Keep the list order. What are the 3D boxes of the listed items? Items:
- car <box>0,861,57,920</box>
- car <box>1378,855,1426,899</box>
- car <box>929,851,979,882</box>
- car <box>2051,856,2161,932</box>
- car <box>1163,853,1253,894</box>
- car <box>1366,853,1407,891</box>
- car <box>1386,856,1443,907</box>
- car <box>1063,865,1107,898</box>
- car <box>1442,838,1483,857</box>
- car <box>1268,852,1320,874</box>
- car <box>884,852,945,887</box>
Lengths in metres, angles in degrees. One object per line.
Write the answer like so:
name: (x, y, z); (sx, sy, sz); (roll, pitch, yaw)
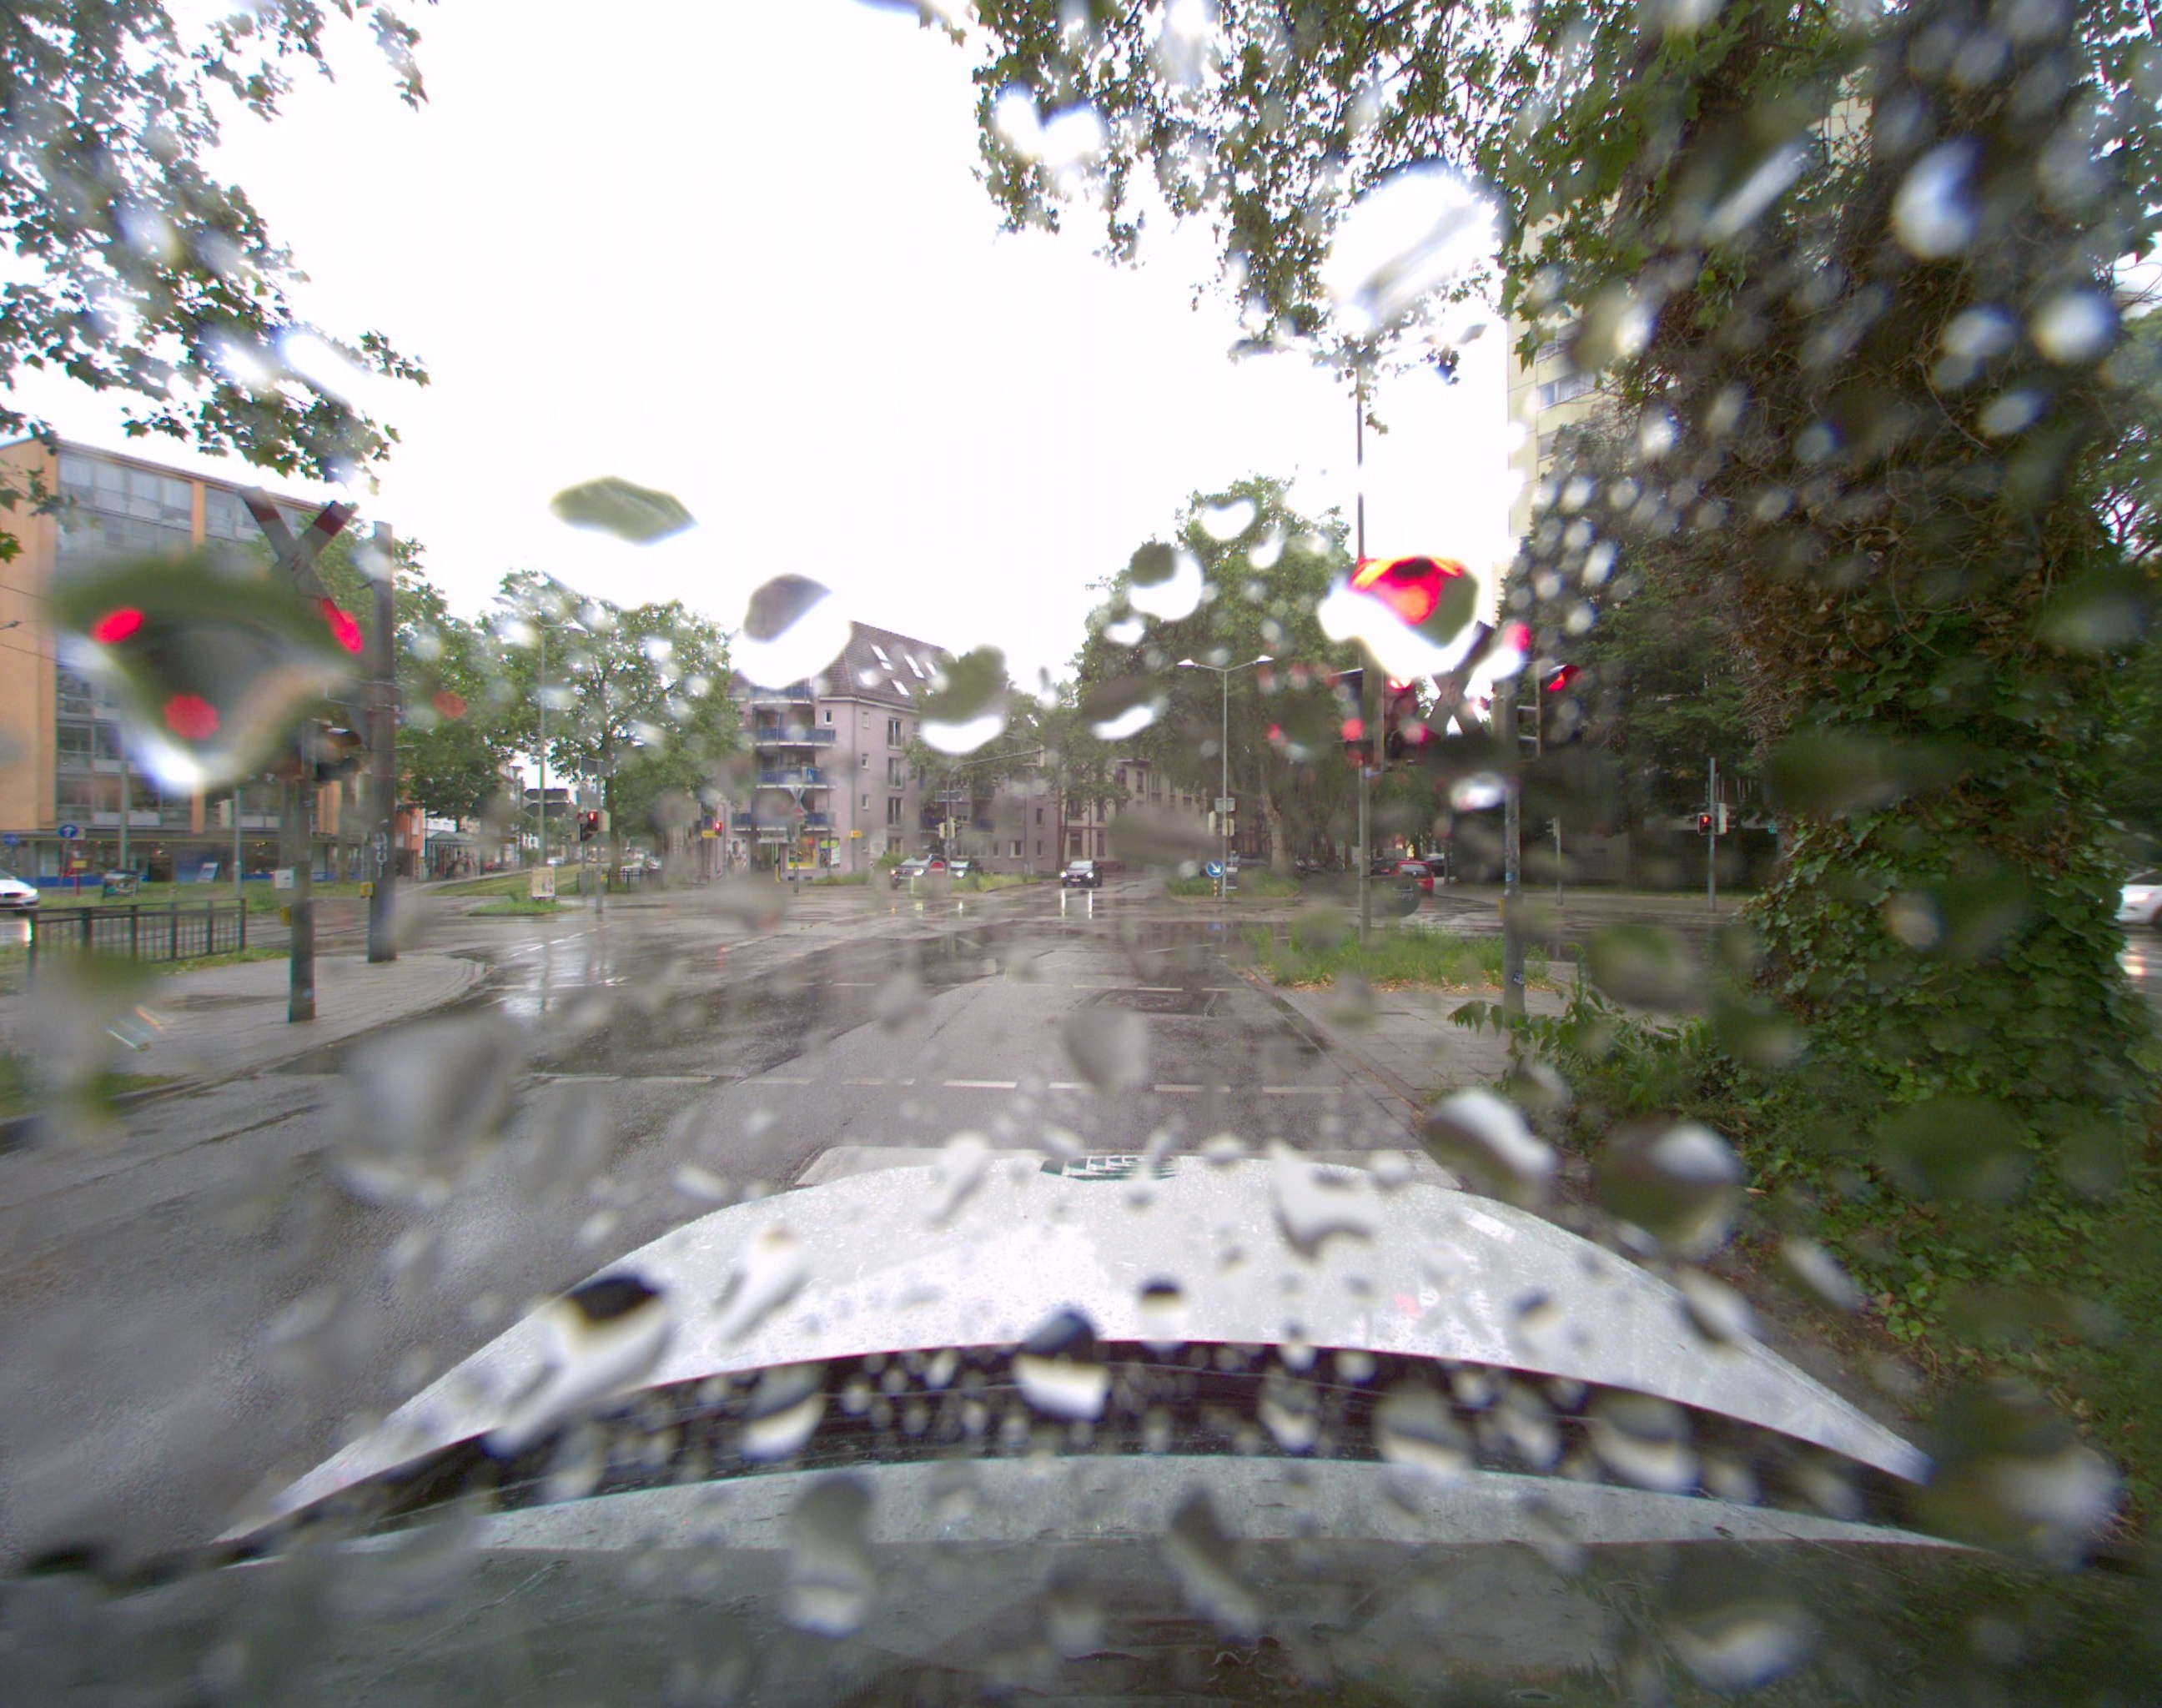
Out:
car: (-32.292, 1.090, 23.431); (3.978, 1.651, 1.980); (-2, 0, 13)
car: (16.061, 1.114, 40.907); (1.977, 2.013, 4.019); (-2, 0, 18)
car: (-7.010, 0.660, 45.138); (1.715, 1.552, 3.567); (-2, 0, 8)
car: (23.386, 0.793, 17.040); (3.613, 1.486, 1.732); (-2, 0, 16)
car: (5.154, 0.772, 32.985); (3.457, 1.523, 1.524); (-2, 0, 10)
car: (17.753, 1.021, 47.469); (1.977, 2.013, 4.019); (-2, 0, 18)
car: (14.724, 1.168, 36.150); (1.977, 2.013, 4.019); (-2, 0, 18)
car: (0.272, 1.464, 44.136); (1.591, 1.552, 3.572); (-2, 0, 13)
car: (42.644, -0.717, 91.166); (3.953, 2.013, 1.716); (-2, 0, 21)
car: (17.015, 0.721, 65.063); (3.571, 1.618, 1.692); (-2, 0, 30)
car: (-7.953, 0.703, 39.123); (1.715, 1.552, 3.567); (-2, 0, 8)
